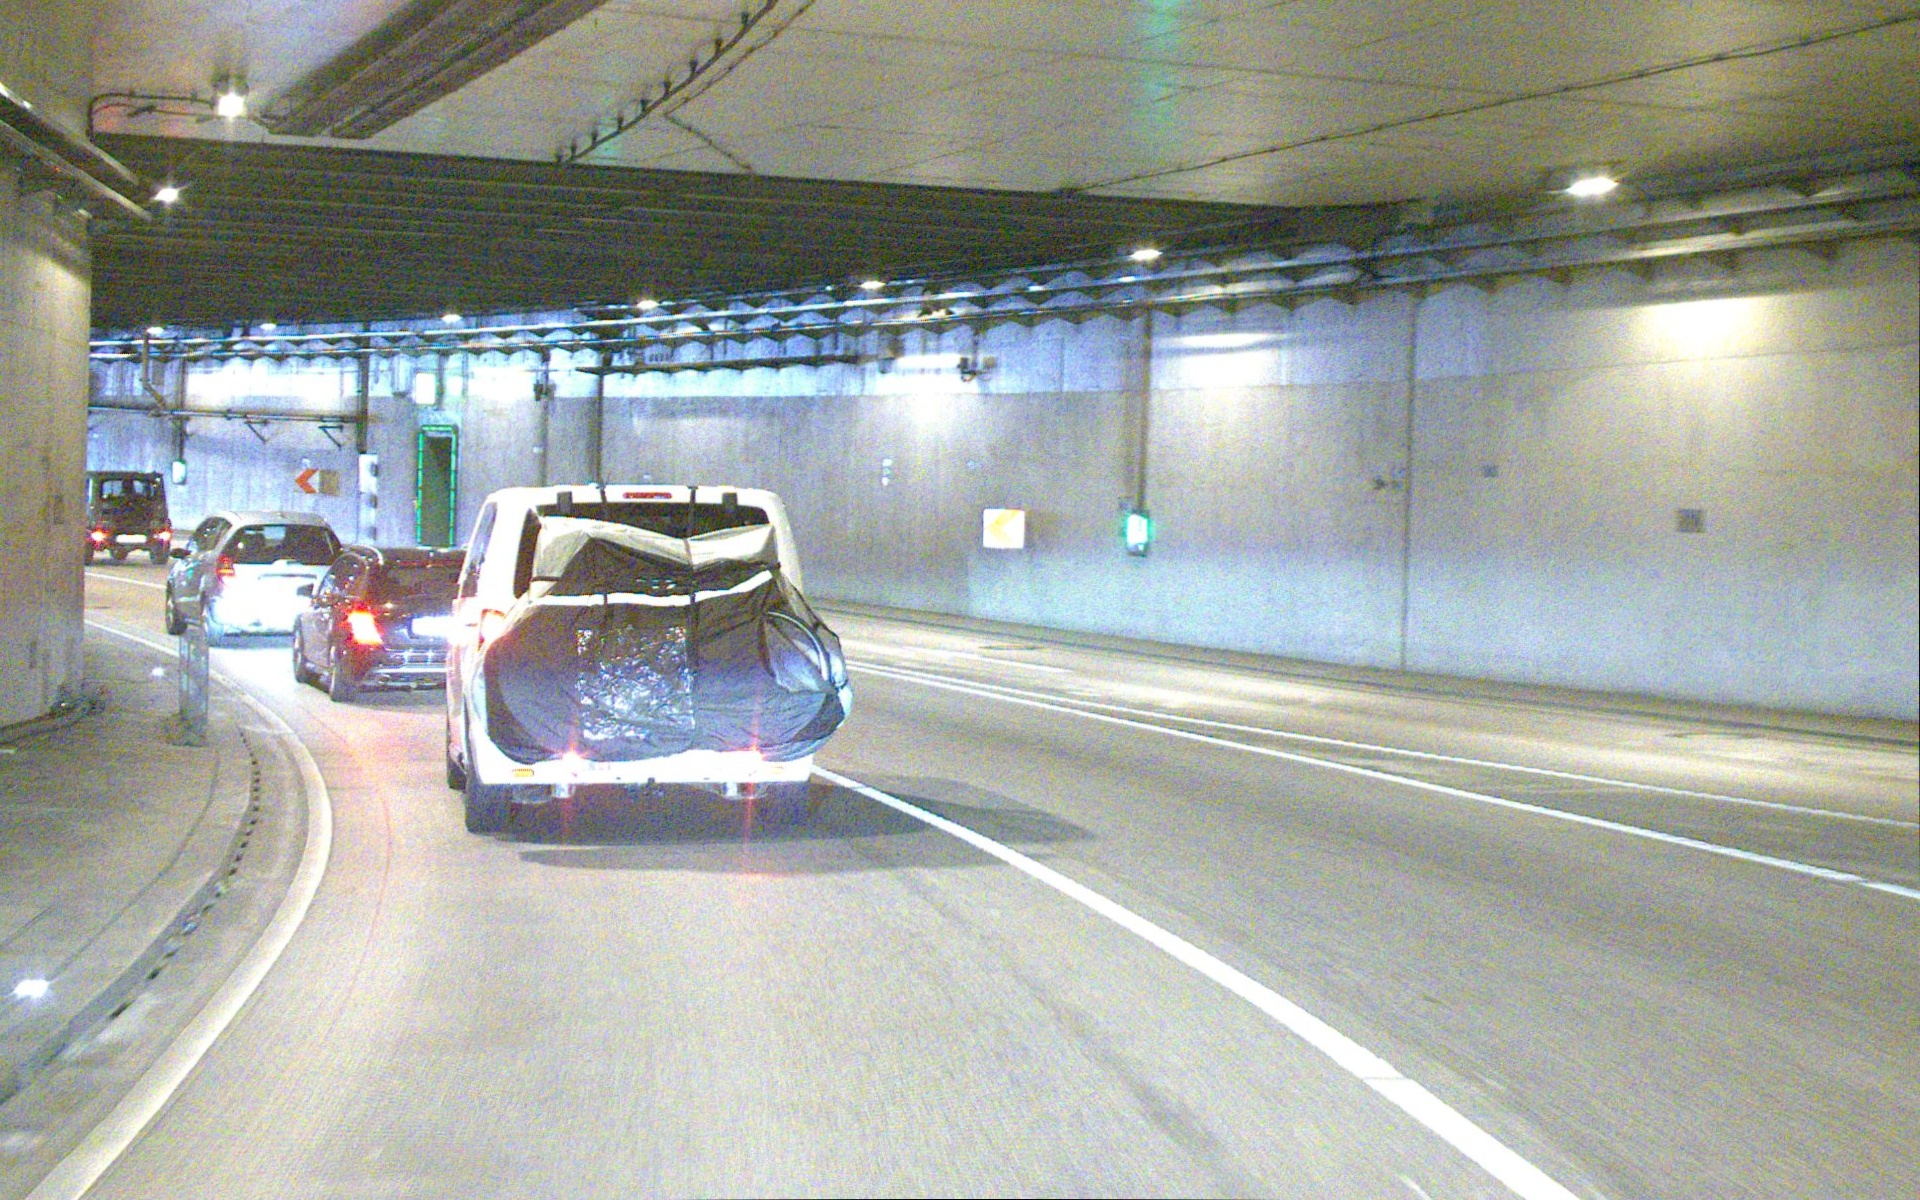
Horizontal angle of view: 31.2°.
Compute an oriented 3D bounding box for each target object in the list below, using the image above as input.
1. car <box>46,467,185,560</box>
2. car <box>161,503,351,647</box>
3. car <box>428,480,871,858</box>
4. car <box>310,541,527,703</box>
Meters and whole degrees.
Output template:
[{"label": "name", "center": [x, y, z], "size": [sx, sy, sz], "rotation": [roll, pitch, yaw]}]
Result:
[{"label": "car", "center": [-15.370, -1.571, 62.453], "size": [1.602, 1.624, 3.356], "rotation": [0, 2, -30]}, {"label": "car", "center": [-8.440, -0.309, 41.068], "size": [1.602, 1.588, 3.356], "rotation": [2, 0, -22]}, {"label": "car", "center": [-1.918, 0.290, 19.532], "size": [1.993, 1.841, 5.303], "rotation": [0, 1, -11]}, {"label": "car", "center": [-5.082, 0.171, 31.983], "size": [1.602, 1.390, 3.278], "rotation": [0, 1, -16]}]
